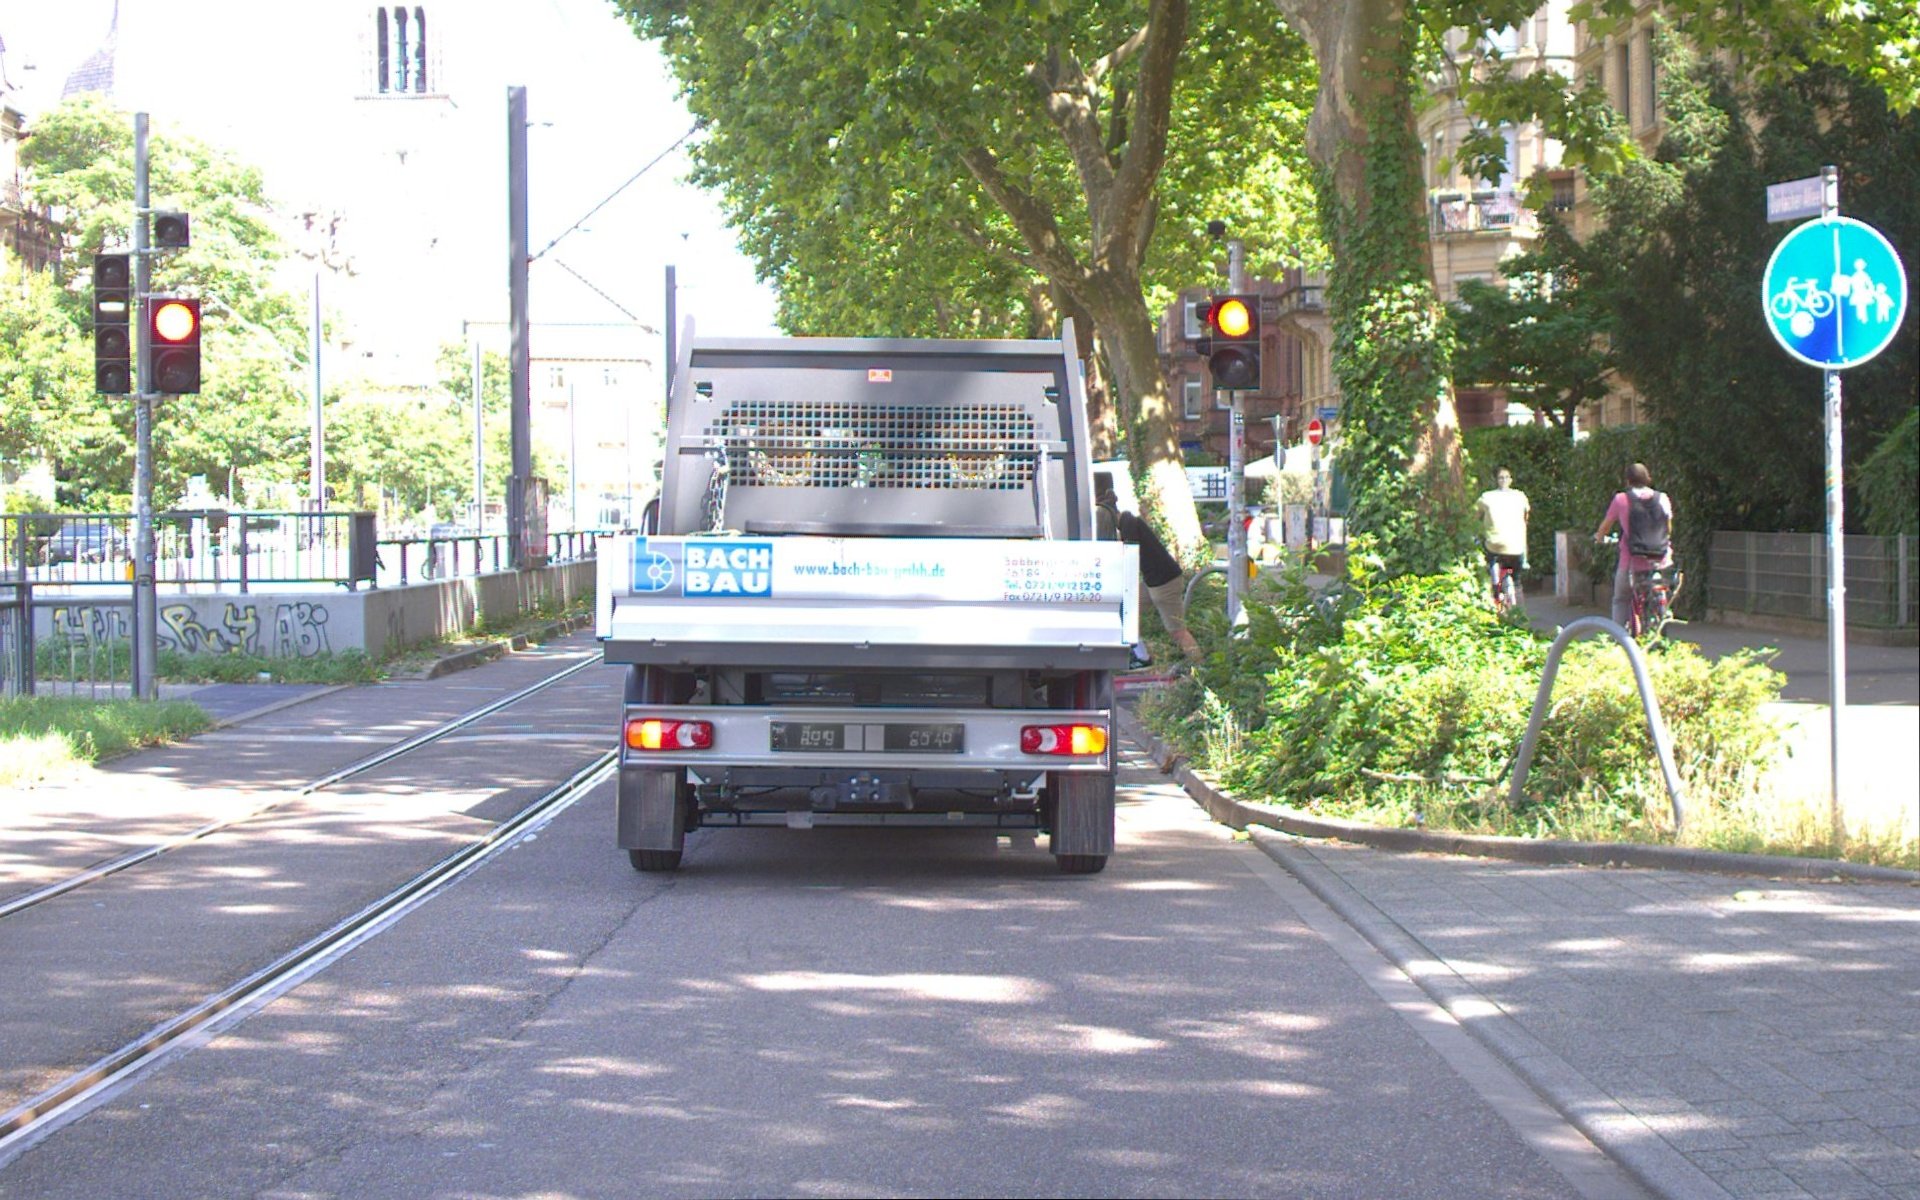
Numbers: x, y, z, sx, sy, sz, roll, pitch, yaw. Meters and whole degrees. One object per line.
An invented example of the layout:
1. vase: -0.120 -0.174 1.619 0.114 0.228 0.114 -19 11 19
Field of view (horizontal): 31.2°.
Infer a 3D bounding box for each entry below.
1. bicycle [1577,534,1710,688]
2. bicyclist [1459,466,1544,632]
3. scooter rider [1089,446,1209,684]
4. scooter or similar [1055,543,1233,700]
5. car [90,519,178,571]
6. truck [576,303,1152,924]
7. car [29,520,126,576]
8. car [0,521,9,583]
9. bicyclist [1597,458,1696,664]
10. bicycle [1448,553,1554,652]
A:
1. bicycle: 5.273 0.060 26.636 0.565 1.108 2.310 -1 2 0
2. bicyclist: 5.163 -0.494 32.812 0.680 1.558 0.777 -1 1 0
3. scooter rider: 1.503 -0.286 27.345 0.667 1.860 0.664 -1 1 -34
4. scooter or similar: 1.462 0.159 27.331 1.266 1.200 0.657 -1 2 -34
5. car: -24.604 -1.650 102.520 1.770 1.493 4.001 -1 1 -2
6. truck: -0.372 -0.006 15.246 2.138 2.311 4.402 1 1 0
7. car: -24.281 -1.452 94.687 1.770 1.493 4.001 -1 1 -2
8. car: -23.741 -1.115 81.329 1.770 1.493 4.001 -1 1 -7
9. bicyclist: 5.290 -0.305 26.509 0.638 1.568 0.579 -1 1 0
10. bicycle: 5.166 0.006 32.913 0.675 0.878 2.163 -1 2 0
